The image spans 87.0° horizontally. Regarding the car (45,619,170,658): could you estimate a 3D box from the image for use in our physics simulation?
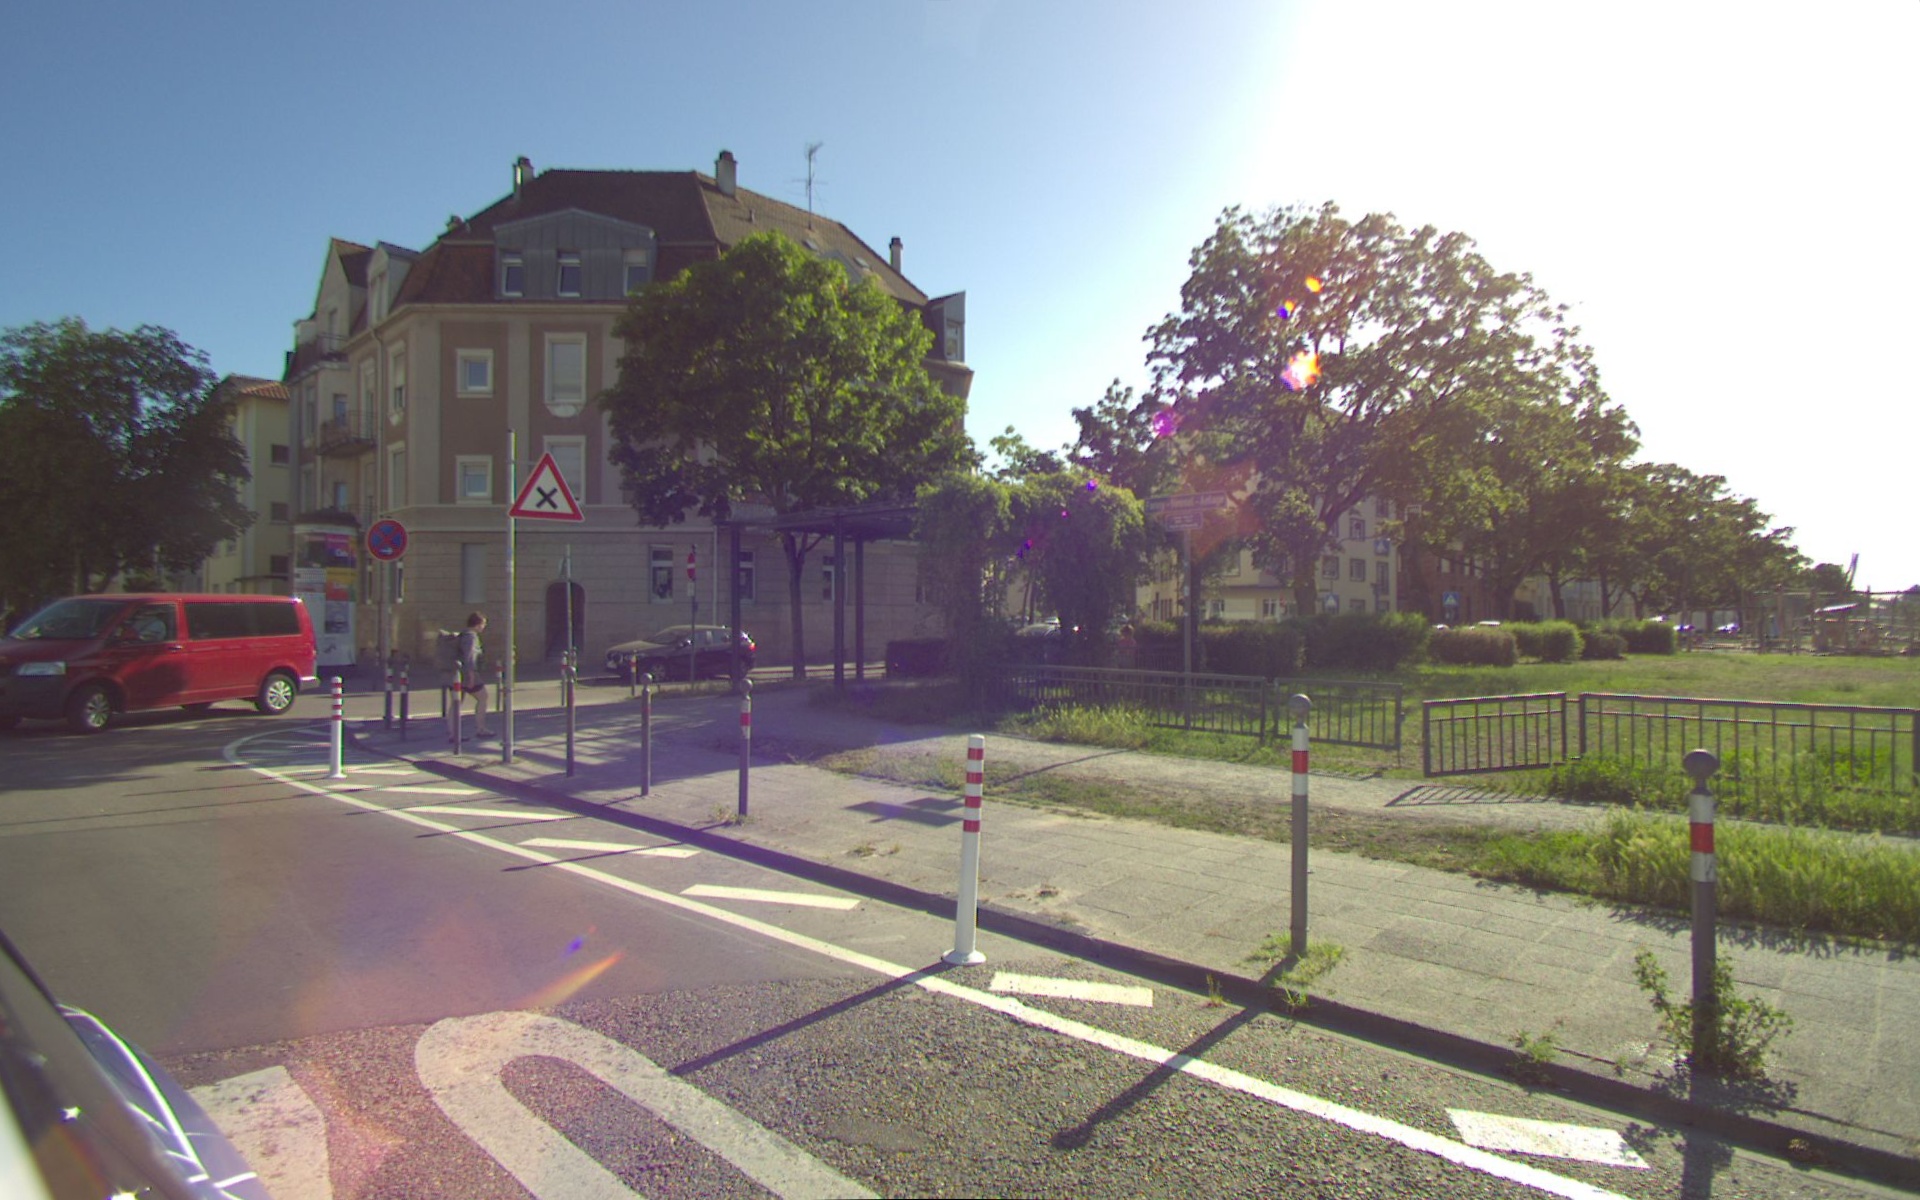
[{"bbox_3d":[-36.172,1.609,43.041,1.686,1.506,3.751,-1,-1,31],"label":"car"}]

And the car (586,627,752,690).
[{"bbox_3d":[-7.906,1.530,27.758,1.867,1.494,3.960,3,1,41],"label":"car"}]

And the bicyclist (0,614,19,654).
[{"bbox_3d":[-38.954,1.401,41.411,0.635,1.632,0.637,2,-2,-45],"label":"bicyclist"}]

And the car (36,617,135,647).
[{"bbox_3d":[-46.442,1.672,53.791,1.690,1.506,3.742,-1,-1,39],"label":"car"}]

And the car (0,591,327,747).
[{"bbox_3d":[-12.532,0.902,15.547,1.878,1.975,4.866,1,0,13],"label":"car"}]

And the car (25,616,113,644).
[{"bbox_3d":[-49.737,1.652,56.512,1.690,1.506,3.484,-1,-1,39],"label":"car"}]

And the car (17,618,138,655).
[{"bbox_3d":[-39.042,1.591,44.860,1.686,1.506,3.751,-1,-1,31],"label":"car"}]

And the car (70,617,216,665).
[{"bbox_3d":[-28.306,1.385,35.127,1.691,1.506,3.739,-1,-1,41],"label":"car"}]

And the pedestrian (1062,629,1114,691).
[{"bbox_3d":[2.450,1.134,19.318,0.833,1.158,0.599,2,-2,-45],"label":"pedestrian"}]

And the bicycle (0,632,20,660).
[{"bbox_3d":[-38.953,1.856,41.398,0.635,1.117,2.066,2,-2,-45],"label":"bicycle"}]

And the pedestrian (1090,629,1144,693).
[{"bbox_3d":[2.920,1.121,18.824,0.862,1.147,0.599,2,-2,-45],"label":"pedestrian"}]

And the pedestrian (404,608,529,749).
[{"bbox_3d":[-6.320,0.963,13.001,0.909,1.686,1.080,-1,1,27],"label":"pedestrian"}]

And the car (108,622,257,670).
[{"bbox_3d":[-26.191,1.506,34.177,1.691,1.455,3.739,-1,-1,41],"label":"car"}]

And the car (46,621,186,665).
[{"bbox_3d":[-31.979,1.586,38.451,1.686,1.506,3.751,-1,-1,31],"label":"car"}]

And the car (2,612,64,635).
[{"bbox_3d":[-72.781,1.833,79.457,1.692,1.716,3.481,-1,-1,42],"label":"car"}]
